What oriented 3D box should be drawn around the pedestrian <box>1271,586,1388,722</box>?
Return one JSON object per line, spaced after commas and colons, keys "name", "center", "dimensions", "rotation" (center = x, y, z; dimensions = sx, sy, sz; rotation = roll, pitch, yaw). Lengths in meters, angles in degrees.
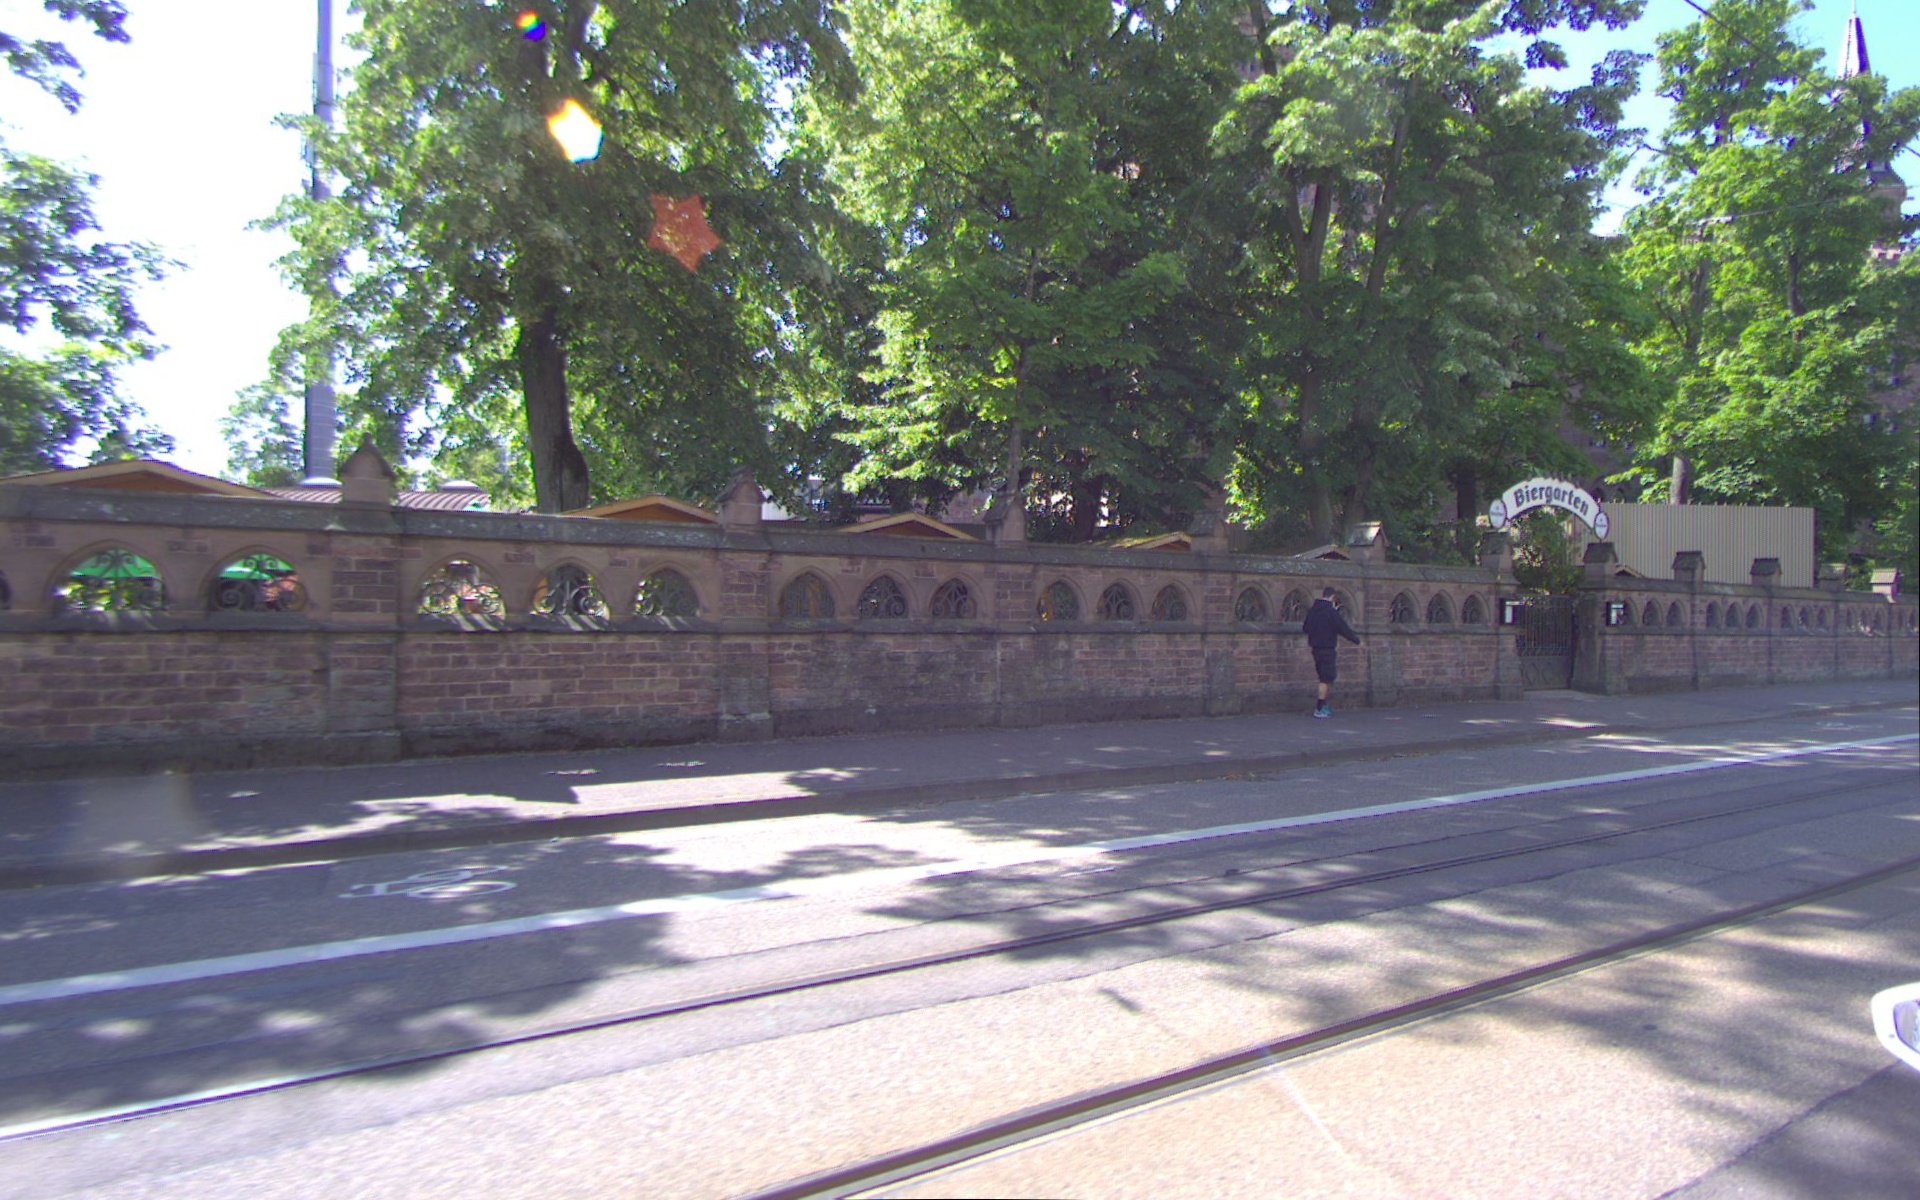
{"name": "pedestrian", "center": [5.332, 0.753, 14.513], "dimensions": [1.171, 1.840, 0.972], "rotation": [1, 3, -30]}
